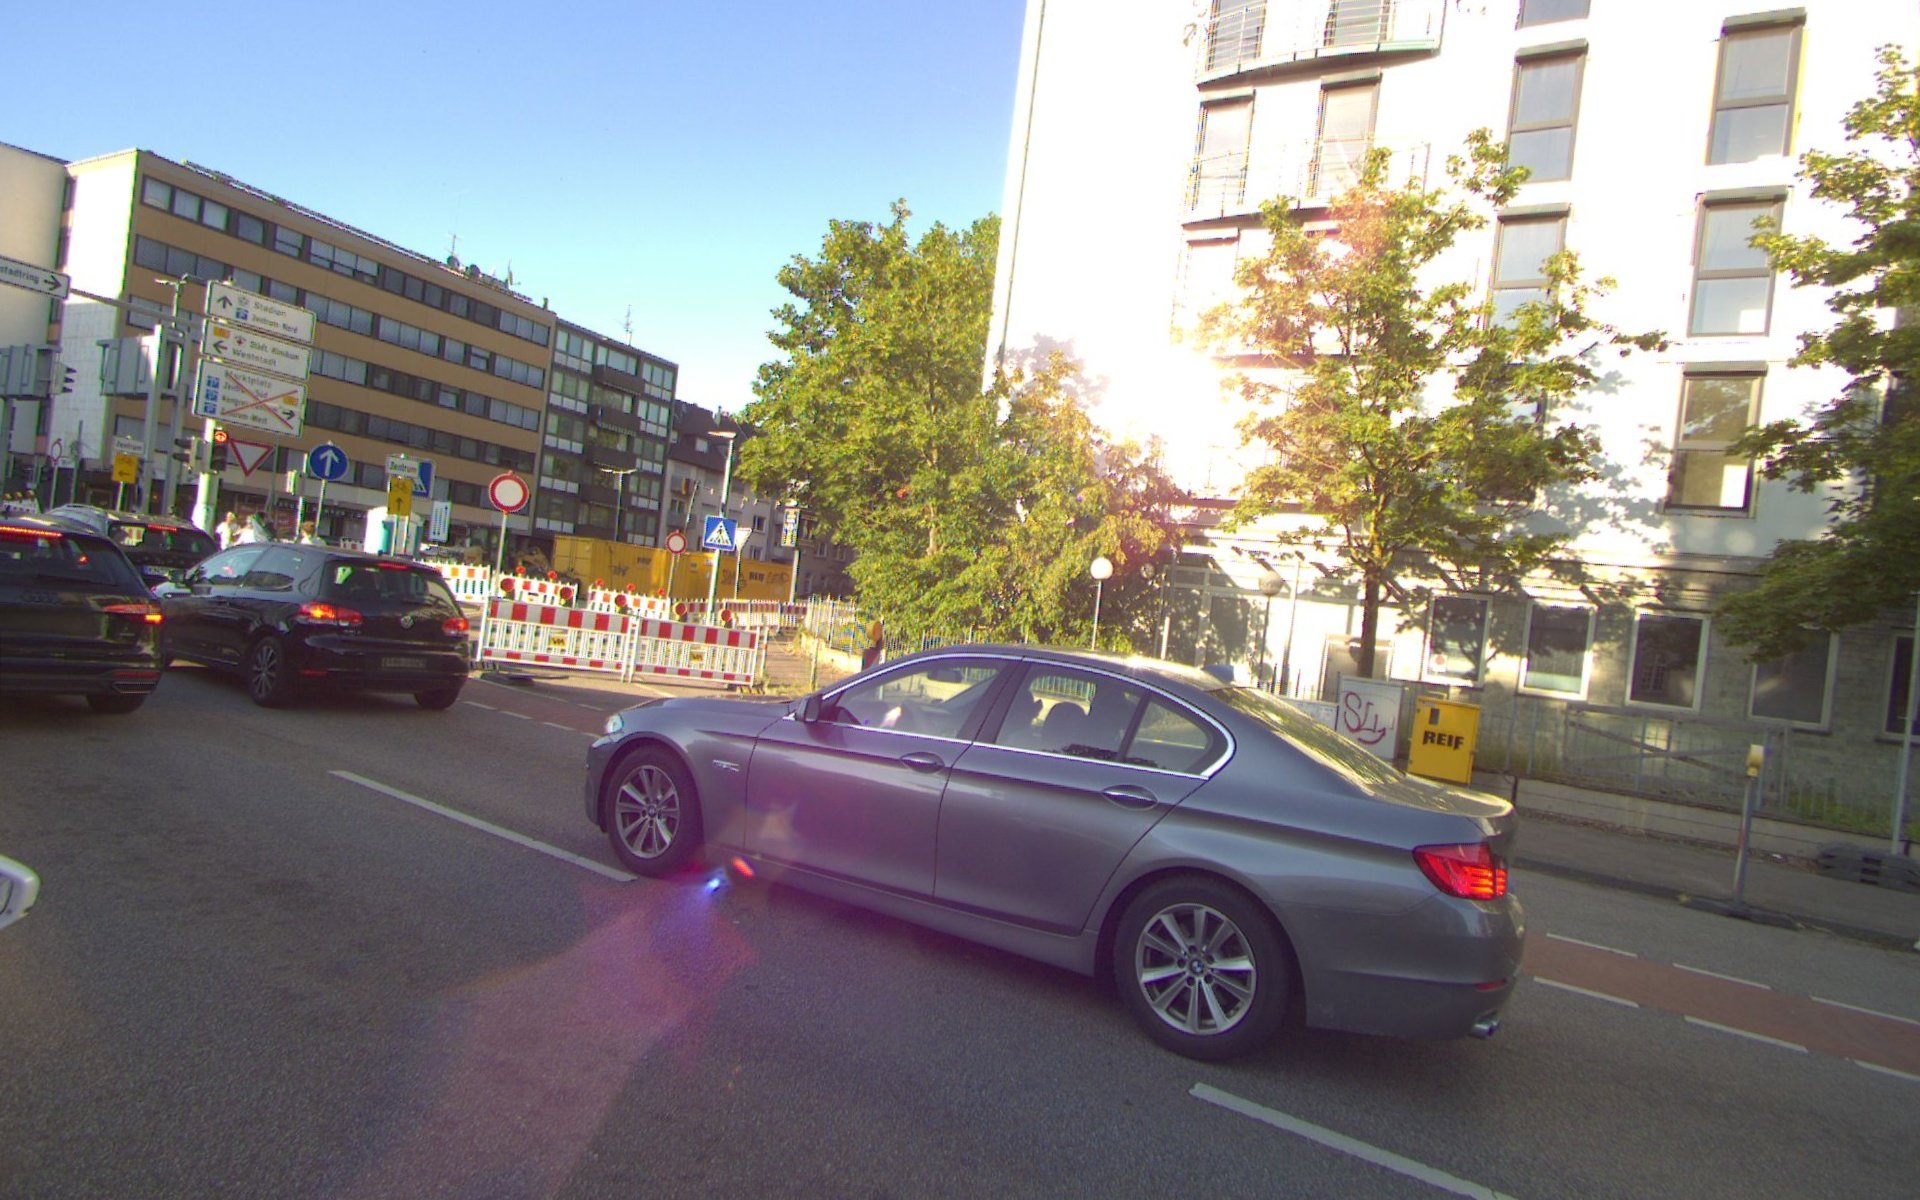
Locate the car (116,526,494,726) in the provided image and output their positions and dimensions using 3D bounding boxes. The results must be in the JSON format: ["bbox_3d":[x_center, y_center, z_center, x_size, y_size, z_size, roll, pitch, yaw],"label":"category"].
[{"bbox_3d":[-6.614,0.228,10.088,3.683,1.466,1.637,7,-2,32],"label":"car"}]

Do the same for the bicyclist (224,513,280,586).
[{"bbox_3d":[-16.882,-1.198,23.978,0.800,1.608,0.619,8,0,27],"label":"bicyclist"}]

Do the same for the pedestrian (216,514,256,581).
[{"bbox_3d":[-19.159,-1.389,26.627,0.447,1.691,0.602,7,0,33],"label":"pedestrian"}]

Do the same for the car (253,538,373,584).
[{"bbox_3d":[-28.200,-1.696,43.963,1.654,1.435,3.991,7,-1,33],"label":"car"}]

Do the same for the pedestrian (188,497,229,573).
[{"bbox_3d":[-19.434,-1.682,26.003,0.479,1.857,0.570,7,0,34],"label":"pedestrian"}]

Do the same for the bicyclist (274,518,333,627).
[{"bbox_3d":[-9.812,-0.407,15.036,0.474,1.544,0.441,7,0,31],"label":"bicyclist"}]

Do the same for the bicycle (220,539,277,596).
[{"bbox_3d":[-17.042,-0.788,24.072,1.474,1.175,0.373,8,-1,28],"label":"bicycle"}]

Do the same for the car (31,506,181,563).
[{"bbox_3d":[-34.254,-2.596,40.480,1.764,1.613,4.128,7,-1,27],"label":"car"}]

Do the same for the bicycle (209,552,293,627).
[{"bbox_3d":[-11.485,-0.177,16.279,1.825,1.020,0.337,7,0,32],"label":"bicycle"}]

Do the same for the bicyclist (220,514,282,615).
[{"bbox_3d":[-11.504,-0.571,16.324,0.713,1.544,0.441,7,0,32],"label":"bicyclist"}]

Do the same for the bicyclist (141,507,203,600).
[{"bbox_3d":[-13.959,-0.827,17.822,0.713,1.544,0.514,7,0,32],"label":"bicyclist"}]

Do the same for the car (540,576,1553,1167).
[{"bbox_3d":[0.235,0.917,5.112,4.587,1.466,1.819,7,-1,29],"label":"car"}]

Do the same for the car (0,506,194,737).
[{"bbox_3d":[-7.680,-0.050,7.472,4.144,1.437,1.685,7,-2,32],"label":"car"}]

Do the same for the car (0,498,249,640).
[{"bbox_3d":[-11.109,-0.421,13.328,3.250,1.467,1.507,7,0,32],"label":"car"}]
